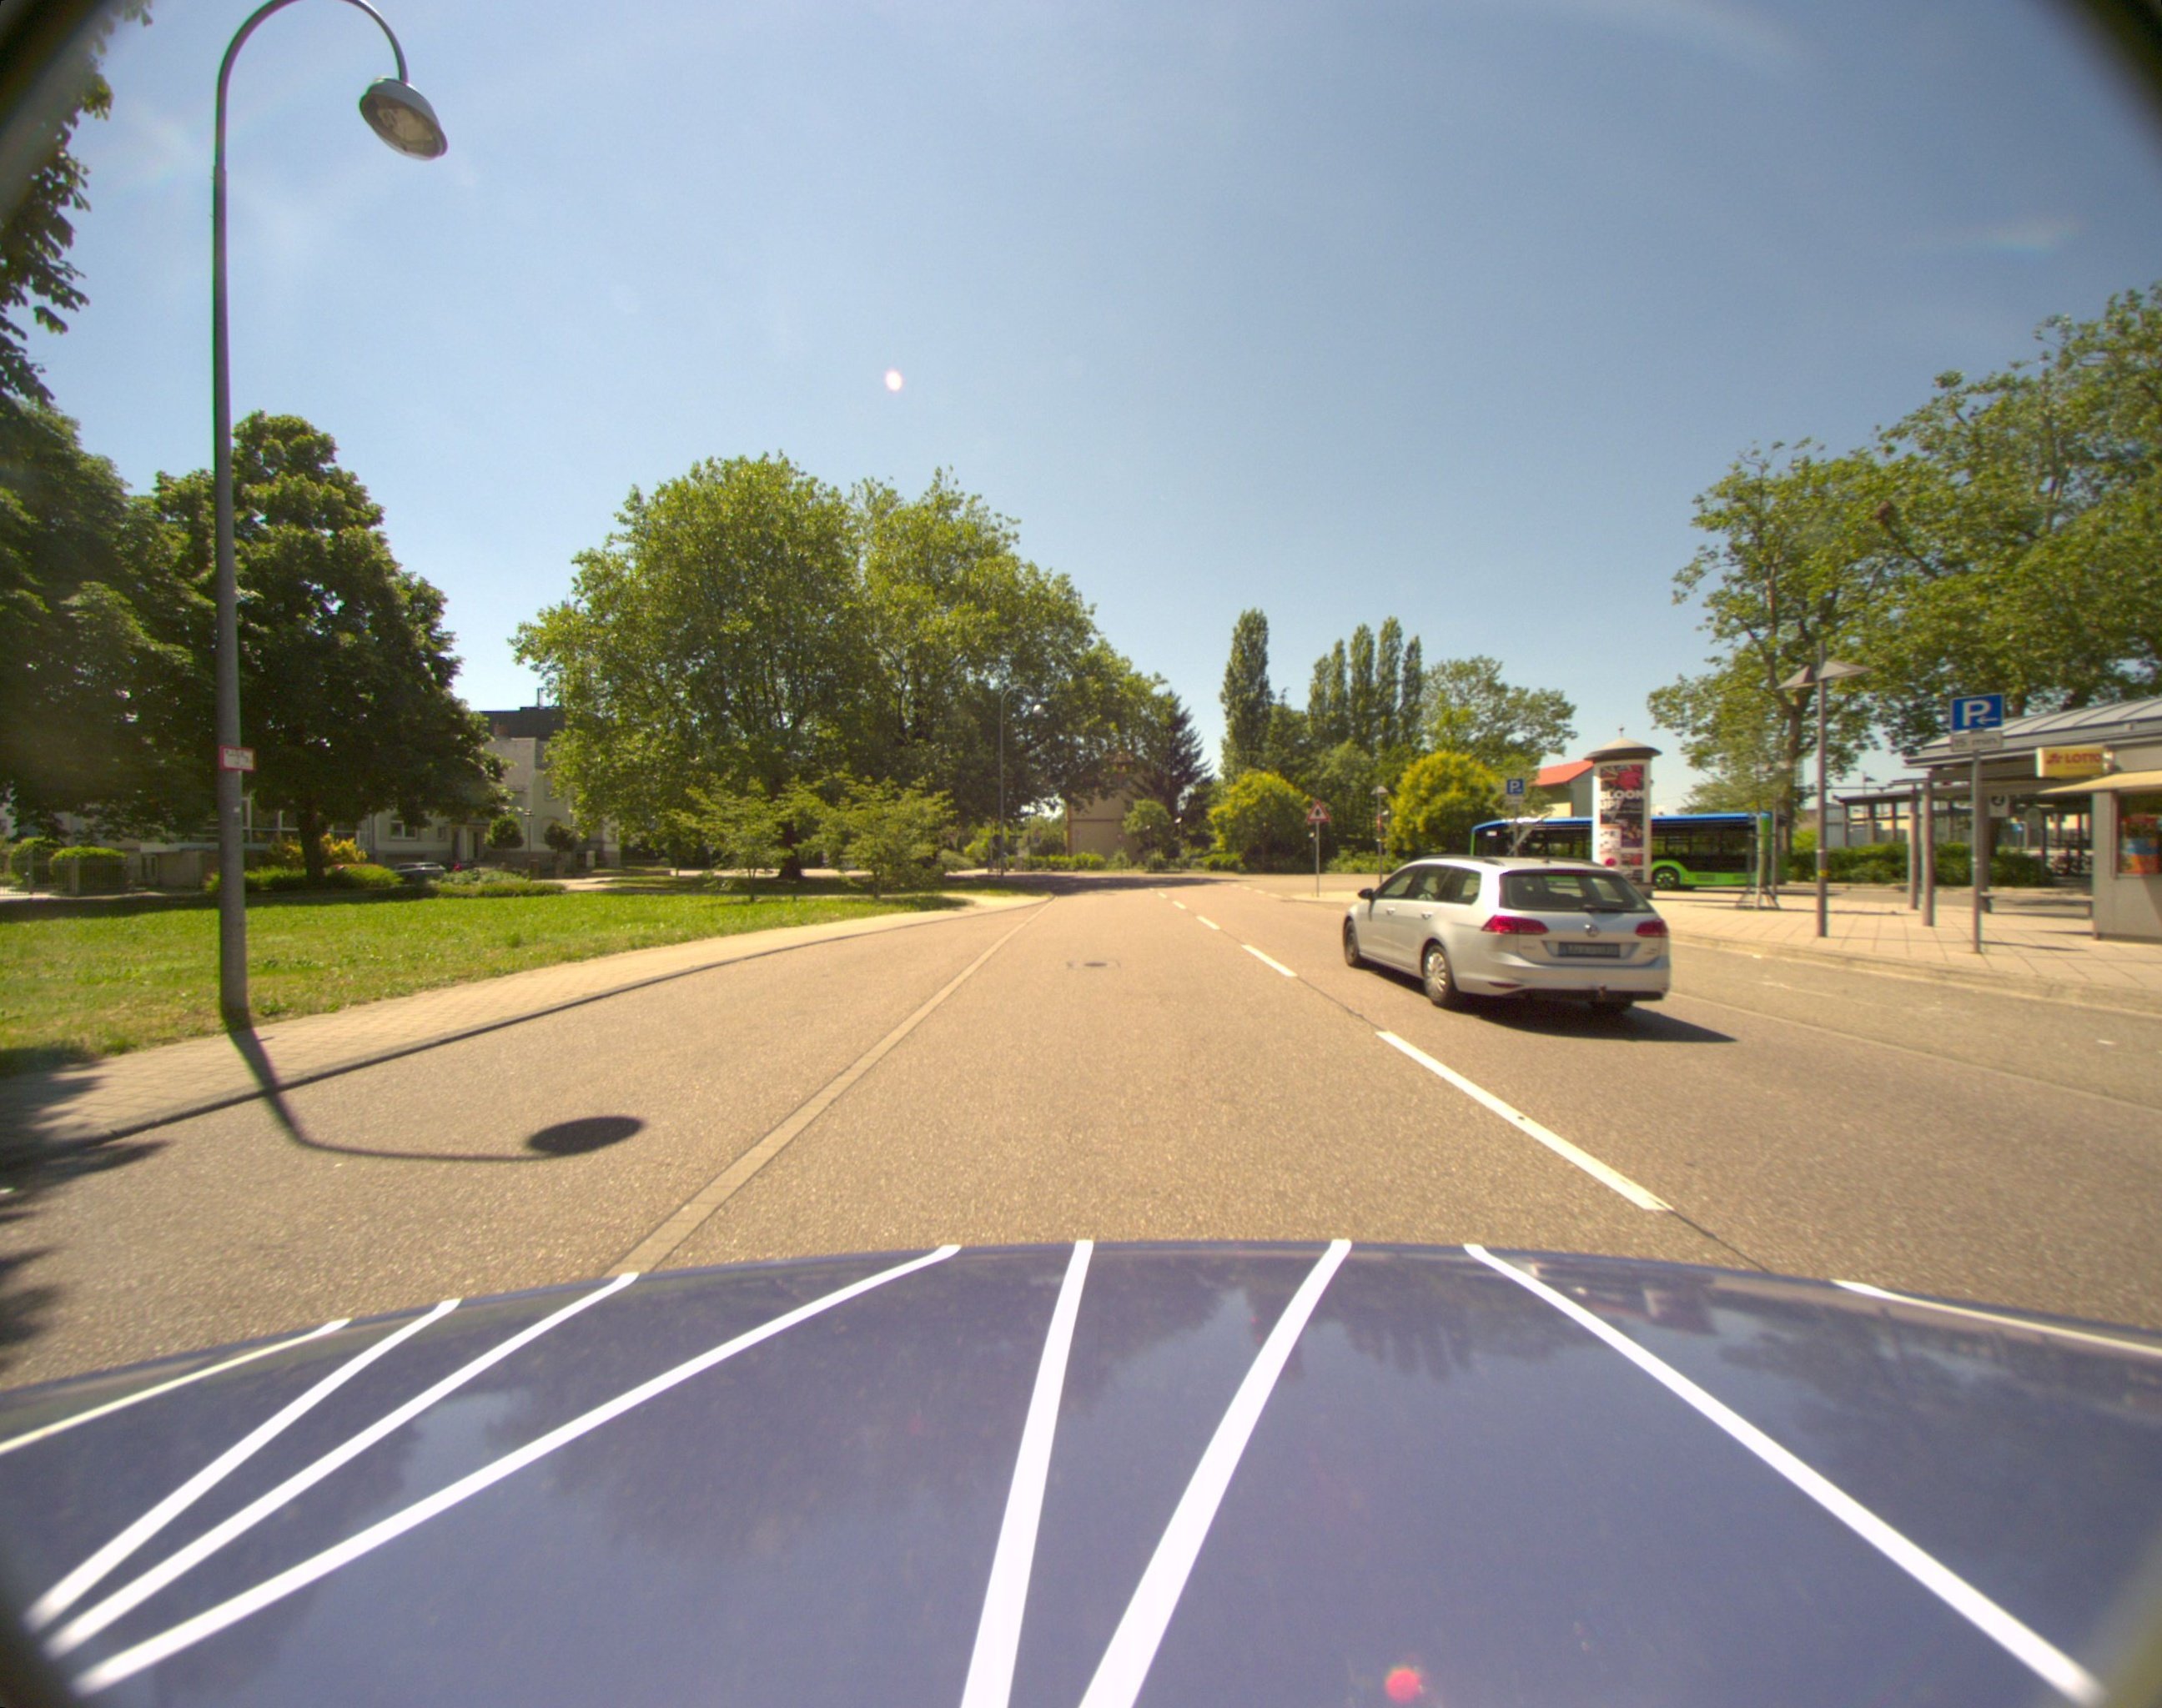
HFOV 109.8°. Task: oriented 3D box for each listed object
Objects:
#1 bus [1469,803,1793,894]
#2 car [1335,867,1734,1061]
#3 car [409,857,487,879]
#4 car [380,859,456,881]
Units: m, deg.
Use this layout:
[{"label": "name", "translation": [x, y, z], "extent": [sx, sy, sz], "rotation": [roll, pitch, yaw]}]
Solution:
[{"label": "bus", "translation": [24.371, -0.206, 35.019], "extent": [2.173, 3.505, 12.192], "rotation": [-1, 0, -32]}, {"label": "car", "translation": [4.235, 0.895, 8.026], "extent": [1.819, 1.435, 4.159], "rotation": [1, 0, 2]}, {"label": "car", "translation": [-44.614, 0.978, 53.575], "extent": [3.995, 1.559, 2.001], "rotation": [0, 0, 6]}, {"label": "car", "translation": [-44.272, 1.032, 50.741], "extent": [3.992, 1.383, 2.003], "rotation": [0, 0, 17]}]
